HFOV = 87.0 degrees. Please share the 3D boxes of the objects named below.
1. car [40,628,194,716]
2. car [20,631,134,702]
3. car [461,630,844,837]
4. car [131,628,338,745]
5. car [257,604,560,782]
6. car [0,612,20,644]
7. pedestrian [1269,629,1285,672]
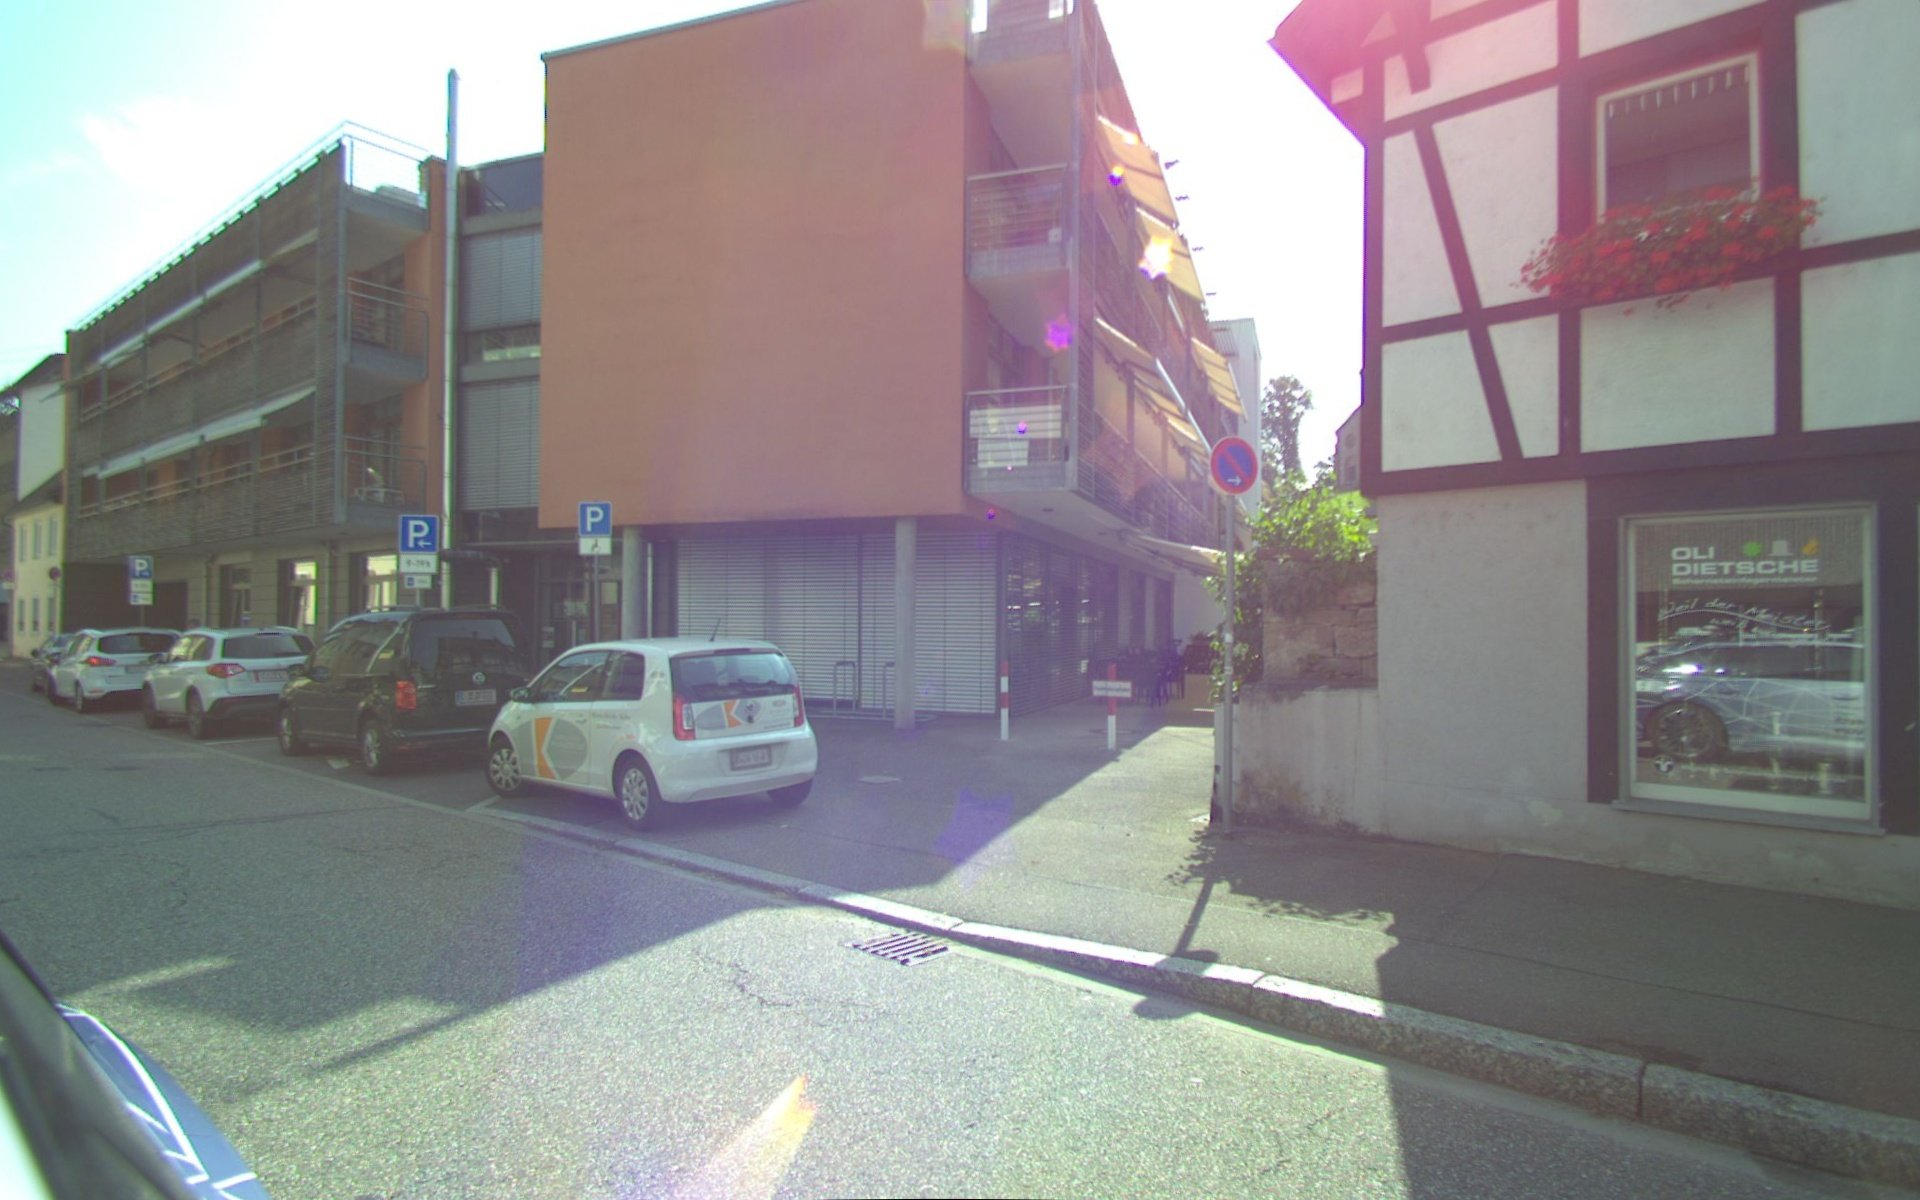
[{"bbox_3d":[-16.729,1.359,20.038,3.760,1.567,1.657,-2,-2,39],"label":"car"},{"bbox_3d":[-20.542,1.485,23.512,3.592,1.427,1.533,-1,0,41],"label":"car"},{"bbox_3d":[-2.864,1.036,9.081,3.567,1.443,1.649,-3,-1,41],"label":"car"},{"bbox_3d":[-11.429,1.255,15.857,3.945,1.602,1.658,-2,-2,39],"label":"car"},{"bbox_3d":[-6.823,1.007,12.344,4.263,1.810,1.703,-1,-2,38],"label":"car"},{"bbox_3d":[-53.142,1.503,54.034,1.828,1.697,3.957,-3,-3,31],"label":"car"},{"bbox_3d":[11.603,1.847,37.030,0.538,1.559,0.578,0,-2,18],"label":"pedestrian"}]
